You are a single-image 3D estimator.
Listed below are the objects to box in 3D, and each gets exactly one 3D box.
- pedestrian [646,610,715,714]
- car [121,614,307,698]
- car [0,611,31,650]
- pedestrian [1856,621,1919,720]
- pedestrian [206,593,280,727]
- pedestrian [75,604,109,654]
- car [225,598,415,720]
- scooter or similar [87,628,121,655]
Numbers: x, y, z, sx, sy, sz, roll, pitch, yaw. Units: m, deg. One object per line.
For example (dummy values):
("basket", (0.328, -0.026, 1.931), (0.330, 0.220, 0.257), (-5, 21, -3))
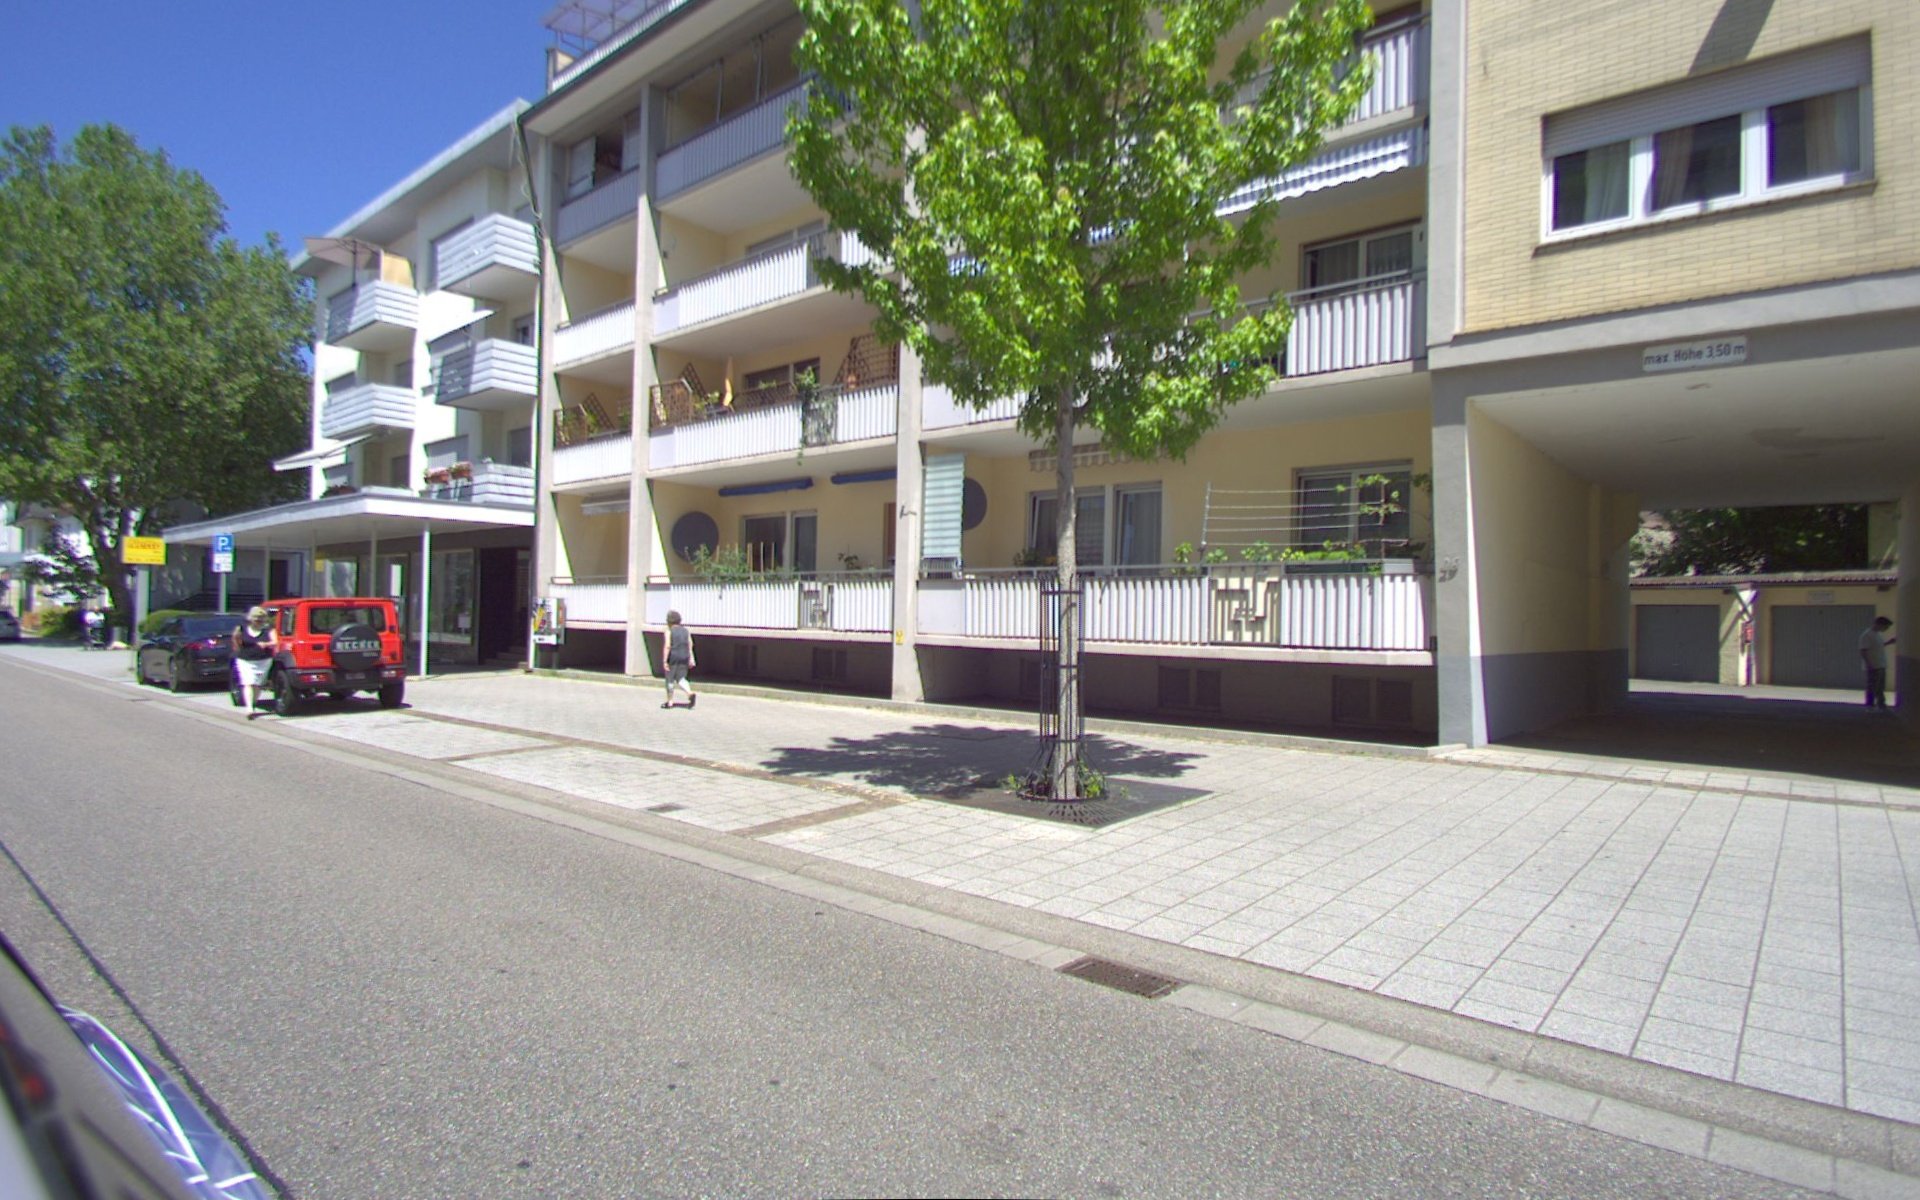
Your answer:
("pedestrian", (-4.219, 0.919, 15.265), (0.767, 1.510, 0.698), (2, -2, -38))
("car", (-14.682, 1.016, 19.868), (3.995, 1.475, 1.974), (-1, -1, 39))
("car", (-39.145, 1.213, 40.867), (3.998, 1.519, 1.972), (-1, -2, 41))
("pedestrian", (16.177, 1.204, 17.655), (0.791, 1.680, 0.702), (-1, -2, 42))
("pedestrian", (-10.064, 0.822, 14.211), (0.668, 1.818, 0.676), (-1, -3, 42))
("pedestrian", (-31.906, 1.069, 37.213), (0.737, 1.806, 0.635), (0, -2, 18))
("car", (-9.995, 0.838, 15.725), (3.369, 1.674, 1.623), (-1, 0, 41))
("scooter or similar", (-31.103, 1.503, 36.792), (0.737, 0.932, 0.635), (0, -2, 18))
